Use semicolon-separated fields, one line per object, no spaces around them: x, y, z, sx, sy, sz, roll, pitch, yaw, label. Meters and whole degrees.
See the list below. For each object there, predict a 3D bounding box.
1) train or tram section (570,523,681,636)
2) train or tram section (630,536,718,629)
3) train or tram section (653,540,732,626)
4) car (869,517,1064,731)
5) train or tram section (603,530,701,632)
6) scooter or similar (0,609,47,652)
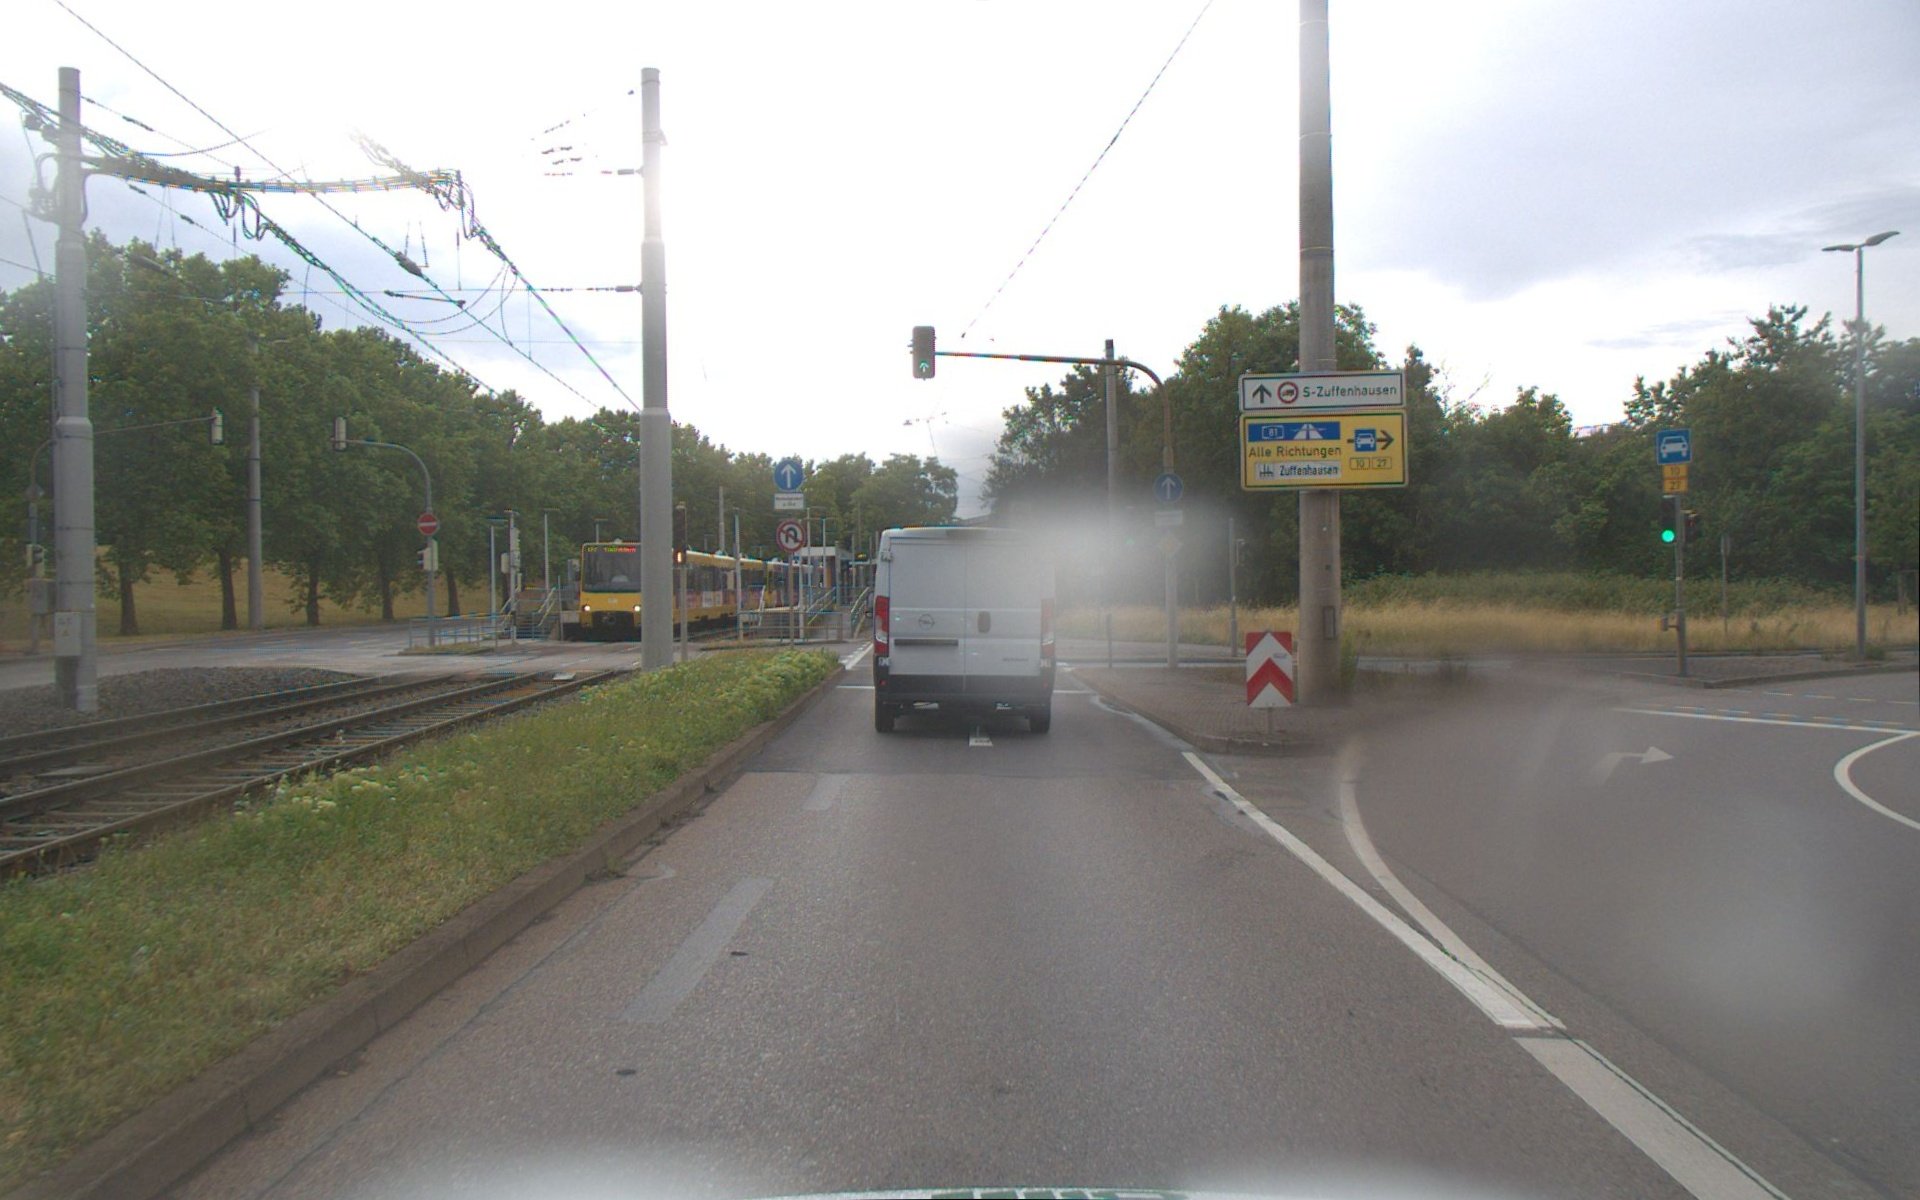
-12.648;-0.739;63.118;2.869;4.001;7.003;1;0;-2;train or tram section
-12.958;-0.773;75.432;2.869;4.001;7.003;1;0;-2;train or tram section
-13.114;-0.790;81.651;2.869;4.001;7.003;1;0;-2;train or tram section
-0.066;0.229;20.046;2.049;2.235;5.058;1;1;-3;car
-12.798;-0.756;69.190;2.869;4.001;7.003;1;0;-2;train or tram section
-27.136;0.875;47.791;0.373;1.182;1.272;0;1;41;scooter or similar
